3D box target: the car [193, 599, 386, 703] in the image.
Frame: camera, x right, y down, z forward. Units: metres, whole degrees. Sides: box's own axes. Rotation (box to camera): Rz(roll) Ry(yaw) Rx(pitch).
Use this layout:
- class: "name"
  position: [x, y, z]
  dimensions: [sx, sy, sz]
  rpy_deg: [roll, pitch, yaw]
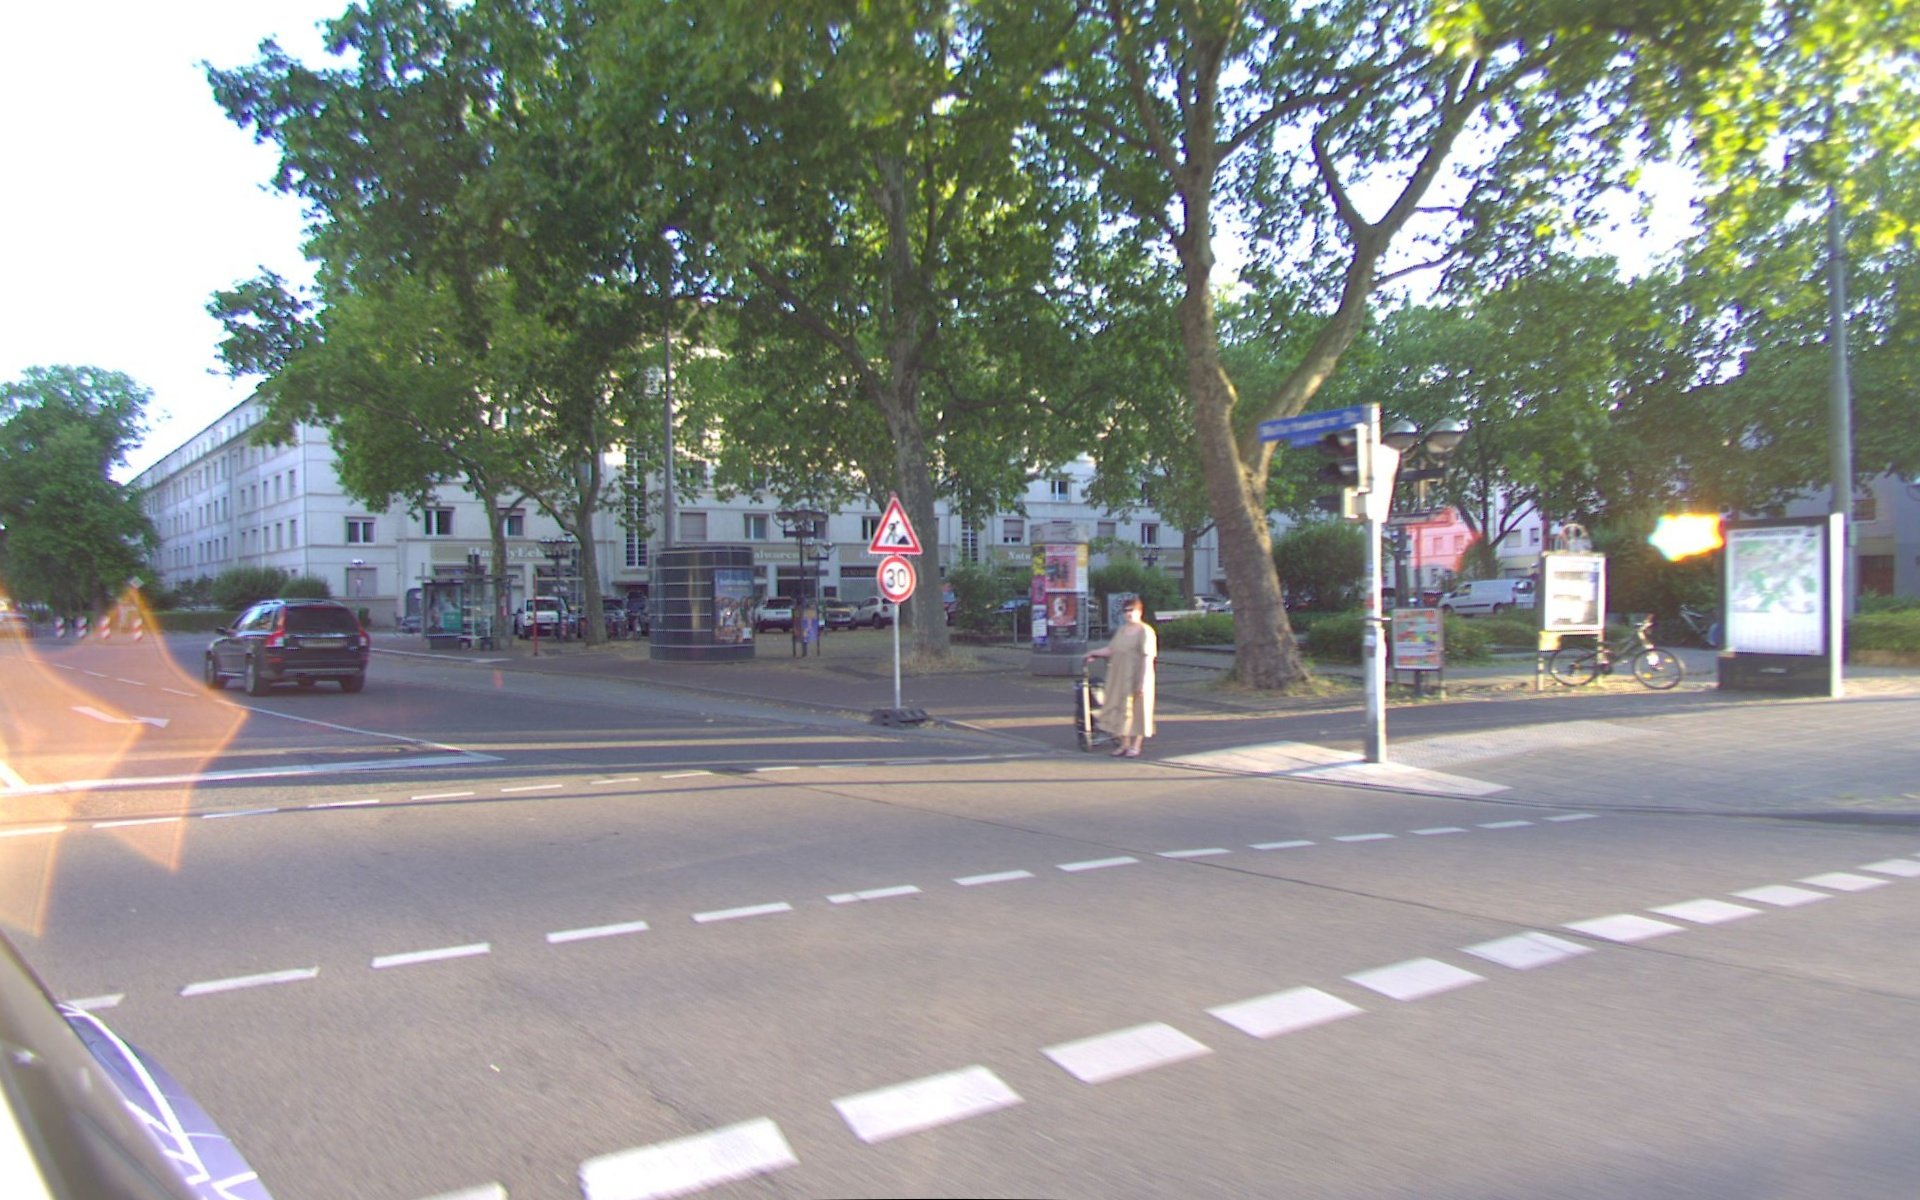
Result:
- class: "car"
  position: [-13.371, 0.939, 20.053]
  dimensions: [4.795, 1.798, 1.973]
  rpy_deg: [-2, 0, 41]

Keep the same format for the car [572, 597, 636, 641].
- class: "car"
  position: [-15.369, 0.838, 43.508]
  dimensions: [1.965, 1.795, 4.655]
  rpy_deg: [0, -2, -27]

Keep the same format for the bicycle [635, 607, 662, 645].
- class: "bicycle"
  position: [-12.307, 1.007, 39.911]
  dimensions: [0.680, 1.394, 2.754]
  rpy_deg: [-2, 1, -23]

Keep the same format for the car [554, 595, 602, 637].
- class: "car"
  position: [-19.968, 0.796, 52.785]
  dimensions: [1.965, 1.970, 4.656]
  rpy_deg: [0, 1, -25]

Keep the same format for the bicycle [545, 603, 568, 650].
- class: "bicycle"
  position: [-15.170, 0.951, 38.002]
  dimensions: [0.680, 1.626, 2.754]
  rpy_deg: [-2, 1, -23]

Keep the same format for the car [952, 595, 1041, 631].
- class: "car"
  position: [1.664, 0.584, 45.969]
  dimensions: [3.696, 1.540, 1.680]
  rpy_deg: [0, 1, -22]

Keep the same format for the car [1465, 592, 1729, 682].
- class: "car"
  position: [14.010, 0.808, 22.627]
  dimensions: [1.965, 1.795, 4.656]
  rpy_deg: [0, -2, -23]

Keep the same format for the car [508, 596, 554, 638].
- class: "car"
  position: [-21.970, 0.809, 51.724]
  dimensions: [1.965, 1.970, 4.656]
  rpy_deg: [0, 1, -25]

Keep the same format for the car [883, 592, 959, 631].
- class: "car"
  position: [-1.999, 0.614, 50.349]
  dimensions: [1.965, 1.795, 4.655]
  rpy_deg: [0, -2, -27]

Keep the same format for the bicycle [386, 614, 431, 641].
- class: "bicycle"
  position: [-26.224, 1.316, 48.147]
  dimensions: [1.776, 1.215, 0.649]
  rpy_deg: [-1, 1, -15]

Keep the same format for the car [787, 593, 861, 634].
- class: "car"
  position: [-6.462, 0.682, 47.506]
  dimensions: [1.965, 1.795, 4.655]
  rpy_deg: [0, -2, -27]

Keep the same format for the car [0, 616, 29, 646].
- class: "car"
  position: [-56.402, 1.808, 59.900]
  dimensions: [1.866, 1.612, 4.004]
  rpy_deg: [-2, 2, -43]

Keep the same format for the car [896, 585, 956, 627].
- class: "car"
  position: [-2.163, 0.329, 62.236]
  dimensions: [1.965, 2.460, 4.656]
  rpy_deg: [0, 1, -25]

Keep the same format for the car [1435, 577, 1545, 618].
- class: "car"
  position: [27.002, -0.081, 51.741]
  dimensions: [1.965, 1.953, 4.655]
  rpy_deg: [0, -2, -27]

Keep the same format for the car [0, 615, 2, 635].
- class: "car"
  position: [-94.528, 2.432, 98.446]
  dimensions: [1.866, 1.879, 4.264]
  rpy_deg: [-2, 2, -43]

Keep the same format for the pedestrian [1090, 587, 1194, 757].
- class: "pedestrian"
  position: [1.881, 0.699, 10.431]
  dimensions: [0.772, 1.640, 0.794]
  rpy_deg: [0, 1, 37]

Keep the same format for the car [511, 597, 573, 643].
- class: "car"
  position: [-17.438, 0.870, 42.086]
  dimensions: [1.965, 1.795, 4.655]
  rpy_deg: [0, -2, -27]

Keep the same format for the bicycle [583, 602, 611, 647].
- class: "bicycle"
  position: [-13.976, 0.908, 38.909]
  dimensions: [0.796, 1.626, 2.754]
  rpy_deg: [-2, 1, -23]

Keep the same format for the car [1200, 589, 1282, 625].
- class: "car"
  position: [14.071, 0.322, 50.655]
  dimensions: [3.697, 1.674, 1.680]
  rpy_deg: [-2, 1, -22]

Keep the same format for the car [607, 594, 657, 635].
- class: "car"
  position: [-17.539, 0.723, 53.926]
  dimensions: [1.965, 1.970, 4.656]
  rpy_deg: [0, 1, -25]

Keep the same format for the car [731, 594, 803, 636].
- class: "car"
  position: [-8.879, 0.719, 46.265]
  dimensions: [1.965, 1.795, 4.655]
  rpy_deg: [0, -2, -27]

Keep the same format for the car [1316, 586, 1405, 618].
- class: "car"
  position: [24.485, 0.155, 62.009]
  dimensions: [1.967, 1.824, 4.659]
  rpy_deg: [1, -2, -37]

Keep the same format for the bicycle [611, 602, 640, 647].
- class: "bicycle"
  position: [-13.028, 0.905, 39.408]
  dimensions: [0.796, 1.626, 2.754]
  rpy_deg: [-2, 1, -23]

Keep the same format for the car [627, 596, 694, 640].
- class: "car"
  position: [-13.197, 0.819, 44.374]
  dimensions: [1.965, 1.795, 4.655]
  rpy_deg: [0, -2, -27]

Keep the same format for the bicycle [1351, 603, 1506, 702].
- class: "bicycle"
  position: [6.787, 0.722, 14.744]
  dimensions: [0.519, 1.336, 1.996]
  rpy_deg: [-2, 2, -43]

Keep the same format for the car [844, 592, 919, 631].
- class: "car"
  position: [-3.865, 0.603, 48.960]
  dimensions: [1.965, 1.795, 4.655]
  rpy_deg: [0, -2, -27]

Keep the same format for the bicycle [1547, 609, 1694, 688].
- class: "bicycle"
  position: [9.809, 0.690, 15.073]
  dimensions: [1.798, 1.101, 0.453]
  rpy_deg: [0, 1, 40]

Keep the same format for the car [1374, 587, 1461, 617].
- class: "car"
  position: [29.024, 0.184, 64.349]
  dimensions: [1.968, 1.748, 4.649]
  rpy_deg: [1, -2, -39]

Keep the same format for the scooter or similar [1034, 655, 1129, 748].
- class: "scooter or similar"
  position: [1.332, 1.088, 11.083]
  dimensions: [0.850, 0.904, 0.586]
  rpy_deg: [0, 1, 37]

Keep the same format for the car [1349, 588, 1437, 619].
- class: "car"
  position: [26.939, 0.256, 63.052]
  dimensions: [1.968, 1.748, 4.649]
  rpy_deg: [1, -2, -39]

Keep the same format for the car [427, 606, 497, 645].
- class: "car"
  position: [-20.366, 1.055, 41.270]
  dimensions: [1.966, 1.515, 4.653]
  rpy_deg: [0, -2, -34]
